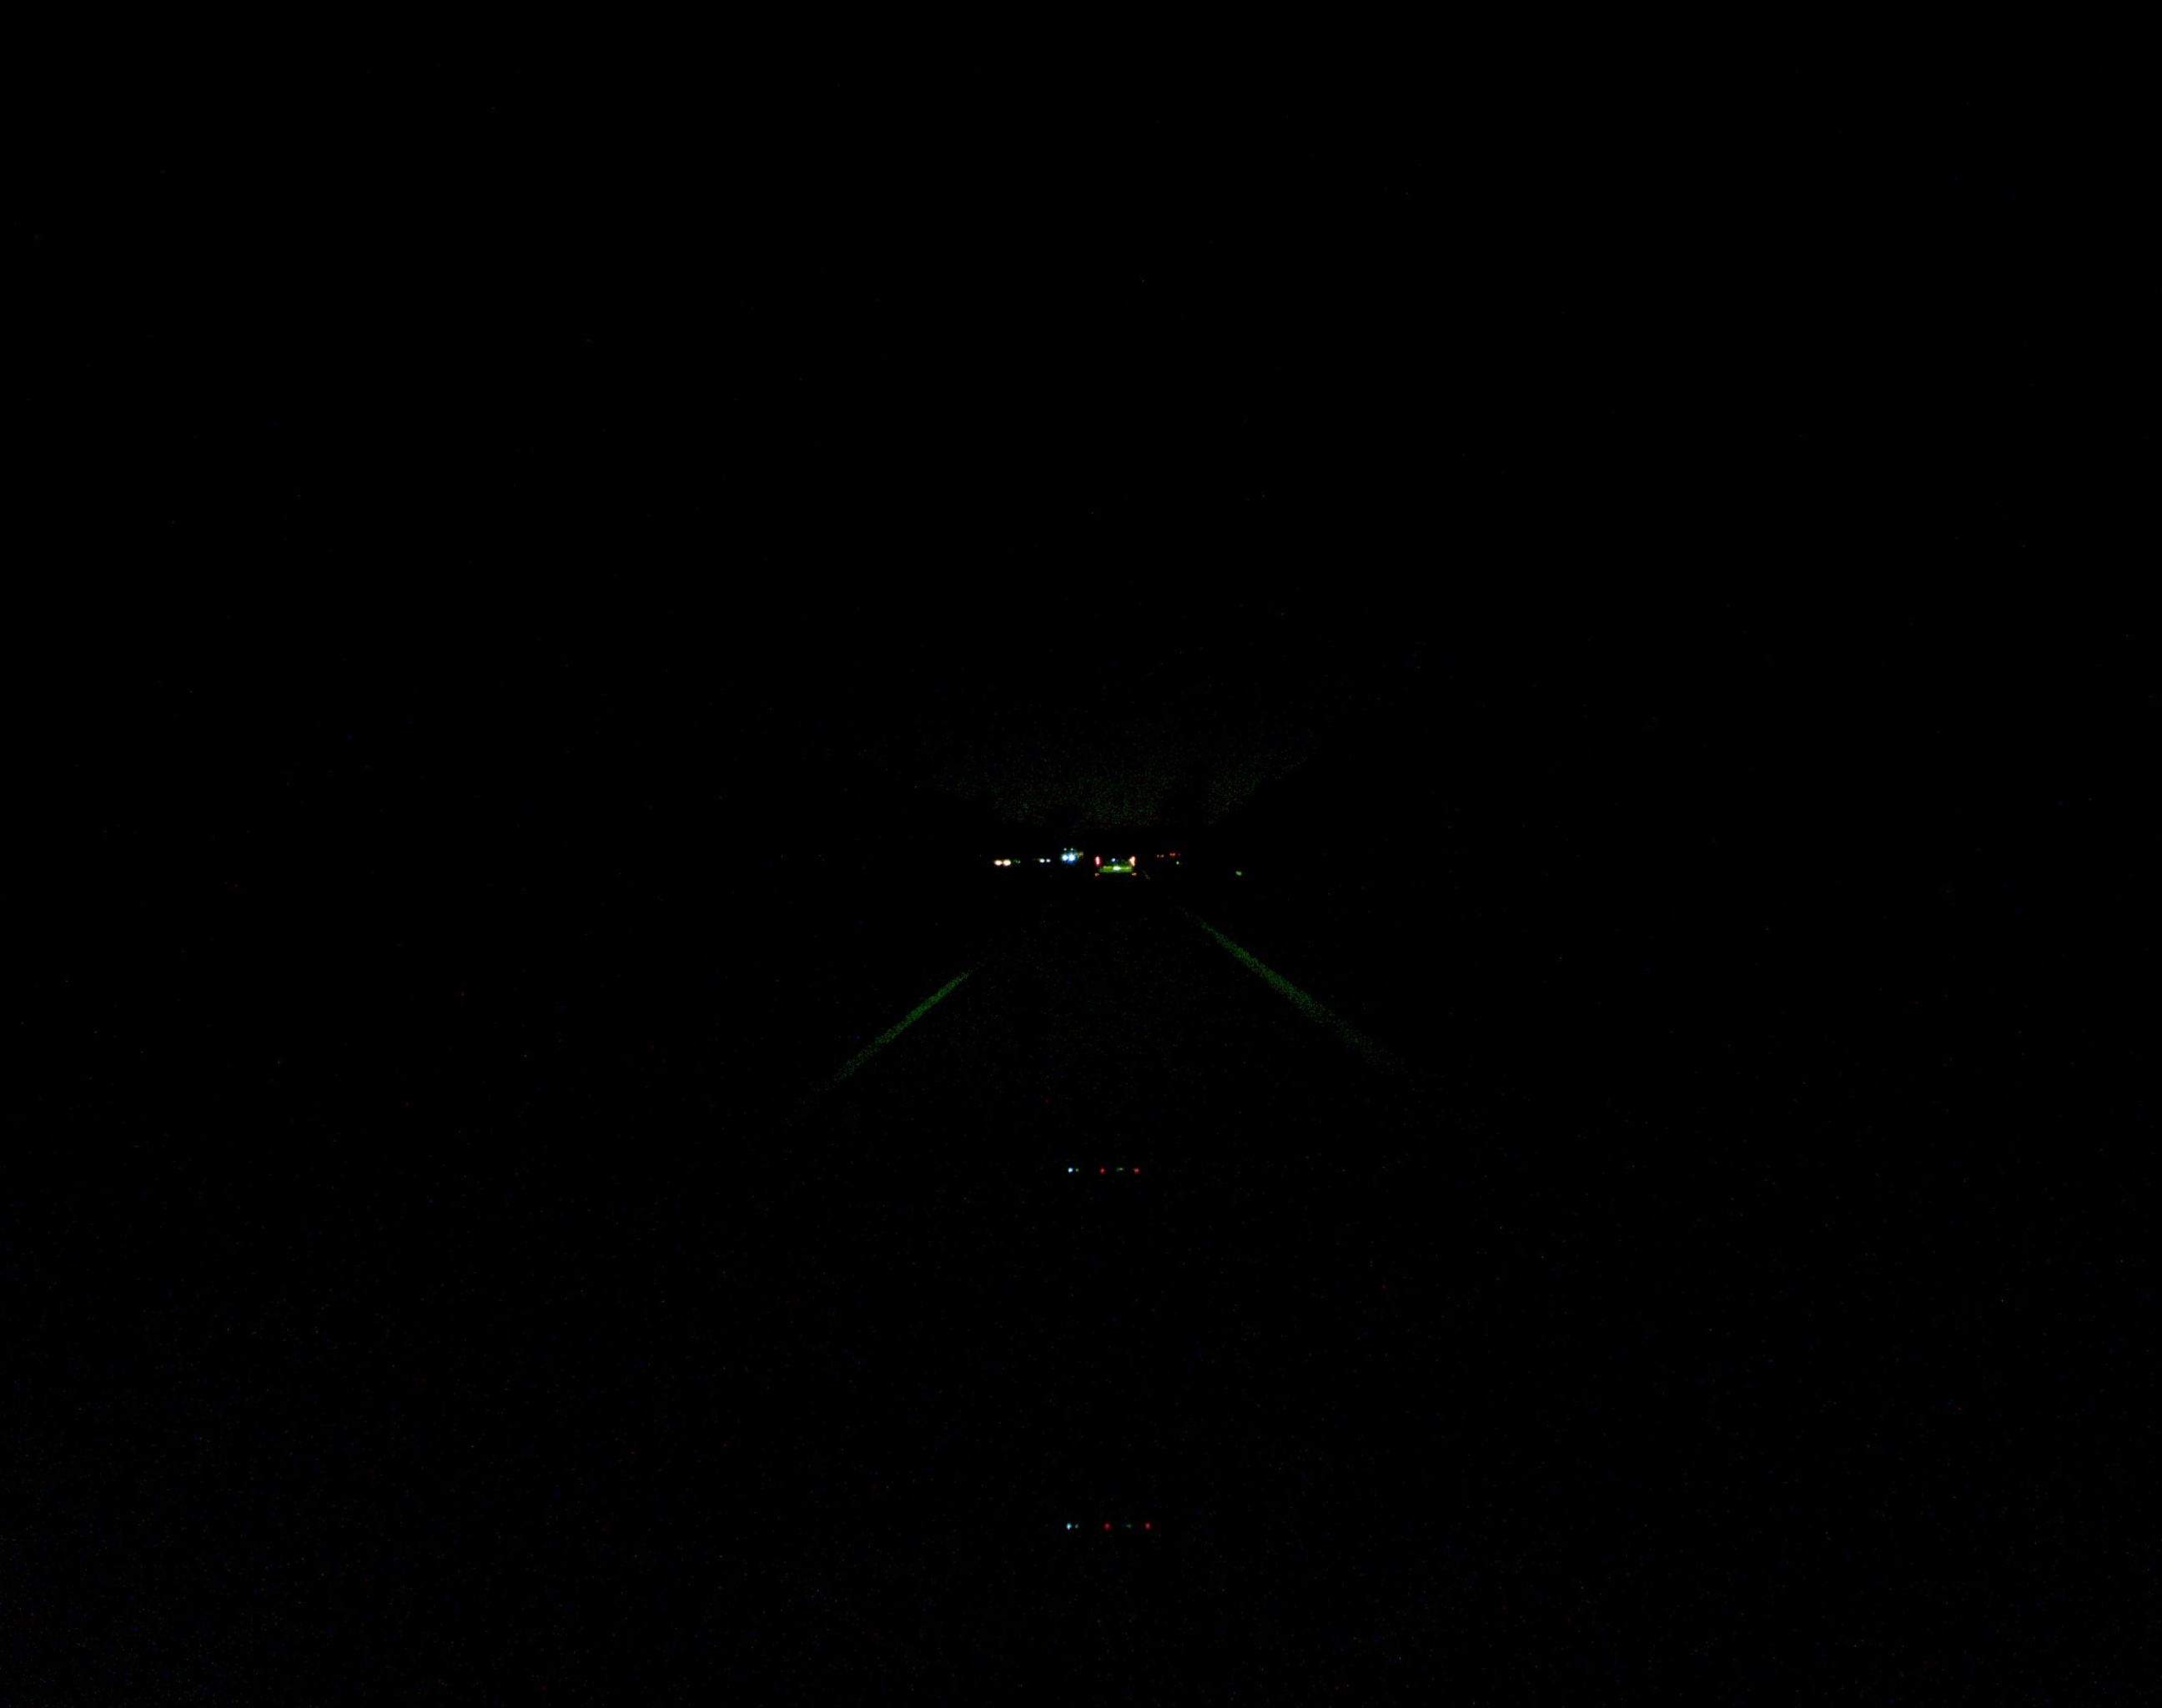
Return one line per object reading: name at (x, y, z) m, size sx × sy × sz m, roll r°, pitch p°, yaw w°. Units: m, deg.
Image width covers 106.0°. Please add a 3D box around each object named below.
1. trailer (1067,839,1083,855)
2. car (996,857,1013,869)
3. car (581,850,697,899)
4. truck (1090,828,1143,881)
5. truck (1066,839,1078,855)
trailer at (-1.770, -1.855, 235.194) m, size 2.675 × 4.218 × 17.280 m, roll -1°, pitch 0°, yaw 6°
car at (-11.627, 1.368, 124.541) m, size 1.985 × 1.650 × 4.402 m, roll -1°, pitch -1°, yaw 3°
car at (-17.387, 0.775, 32.311) m, size 1.985 × 1.786 × 4.403 m, roll -1°, pitch -1°, yaw 3°
truck at (2.006, 0.062, 45.704) m, size 2.620 × 2.624 × 8.690 m, roll -1°, pitch -1°, yaw 3°
truck at (-2.543, -1.885, 227.336) m, size 2.700 × 4.199 × 5.429 m, roll -1°, pitch -1°, yaw 6°
